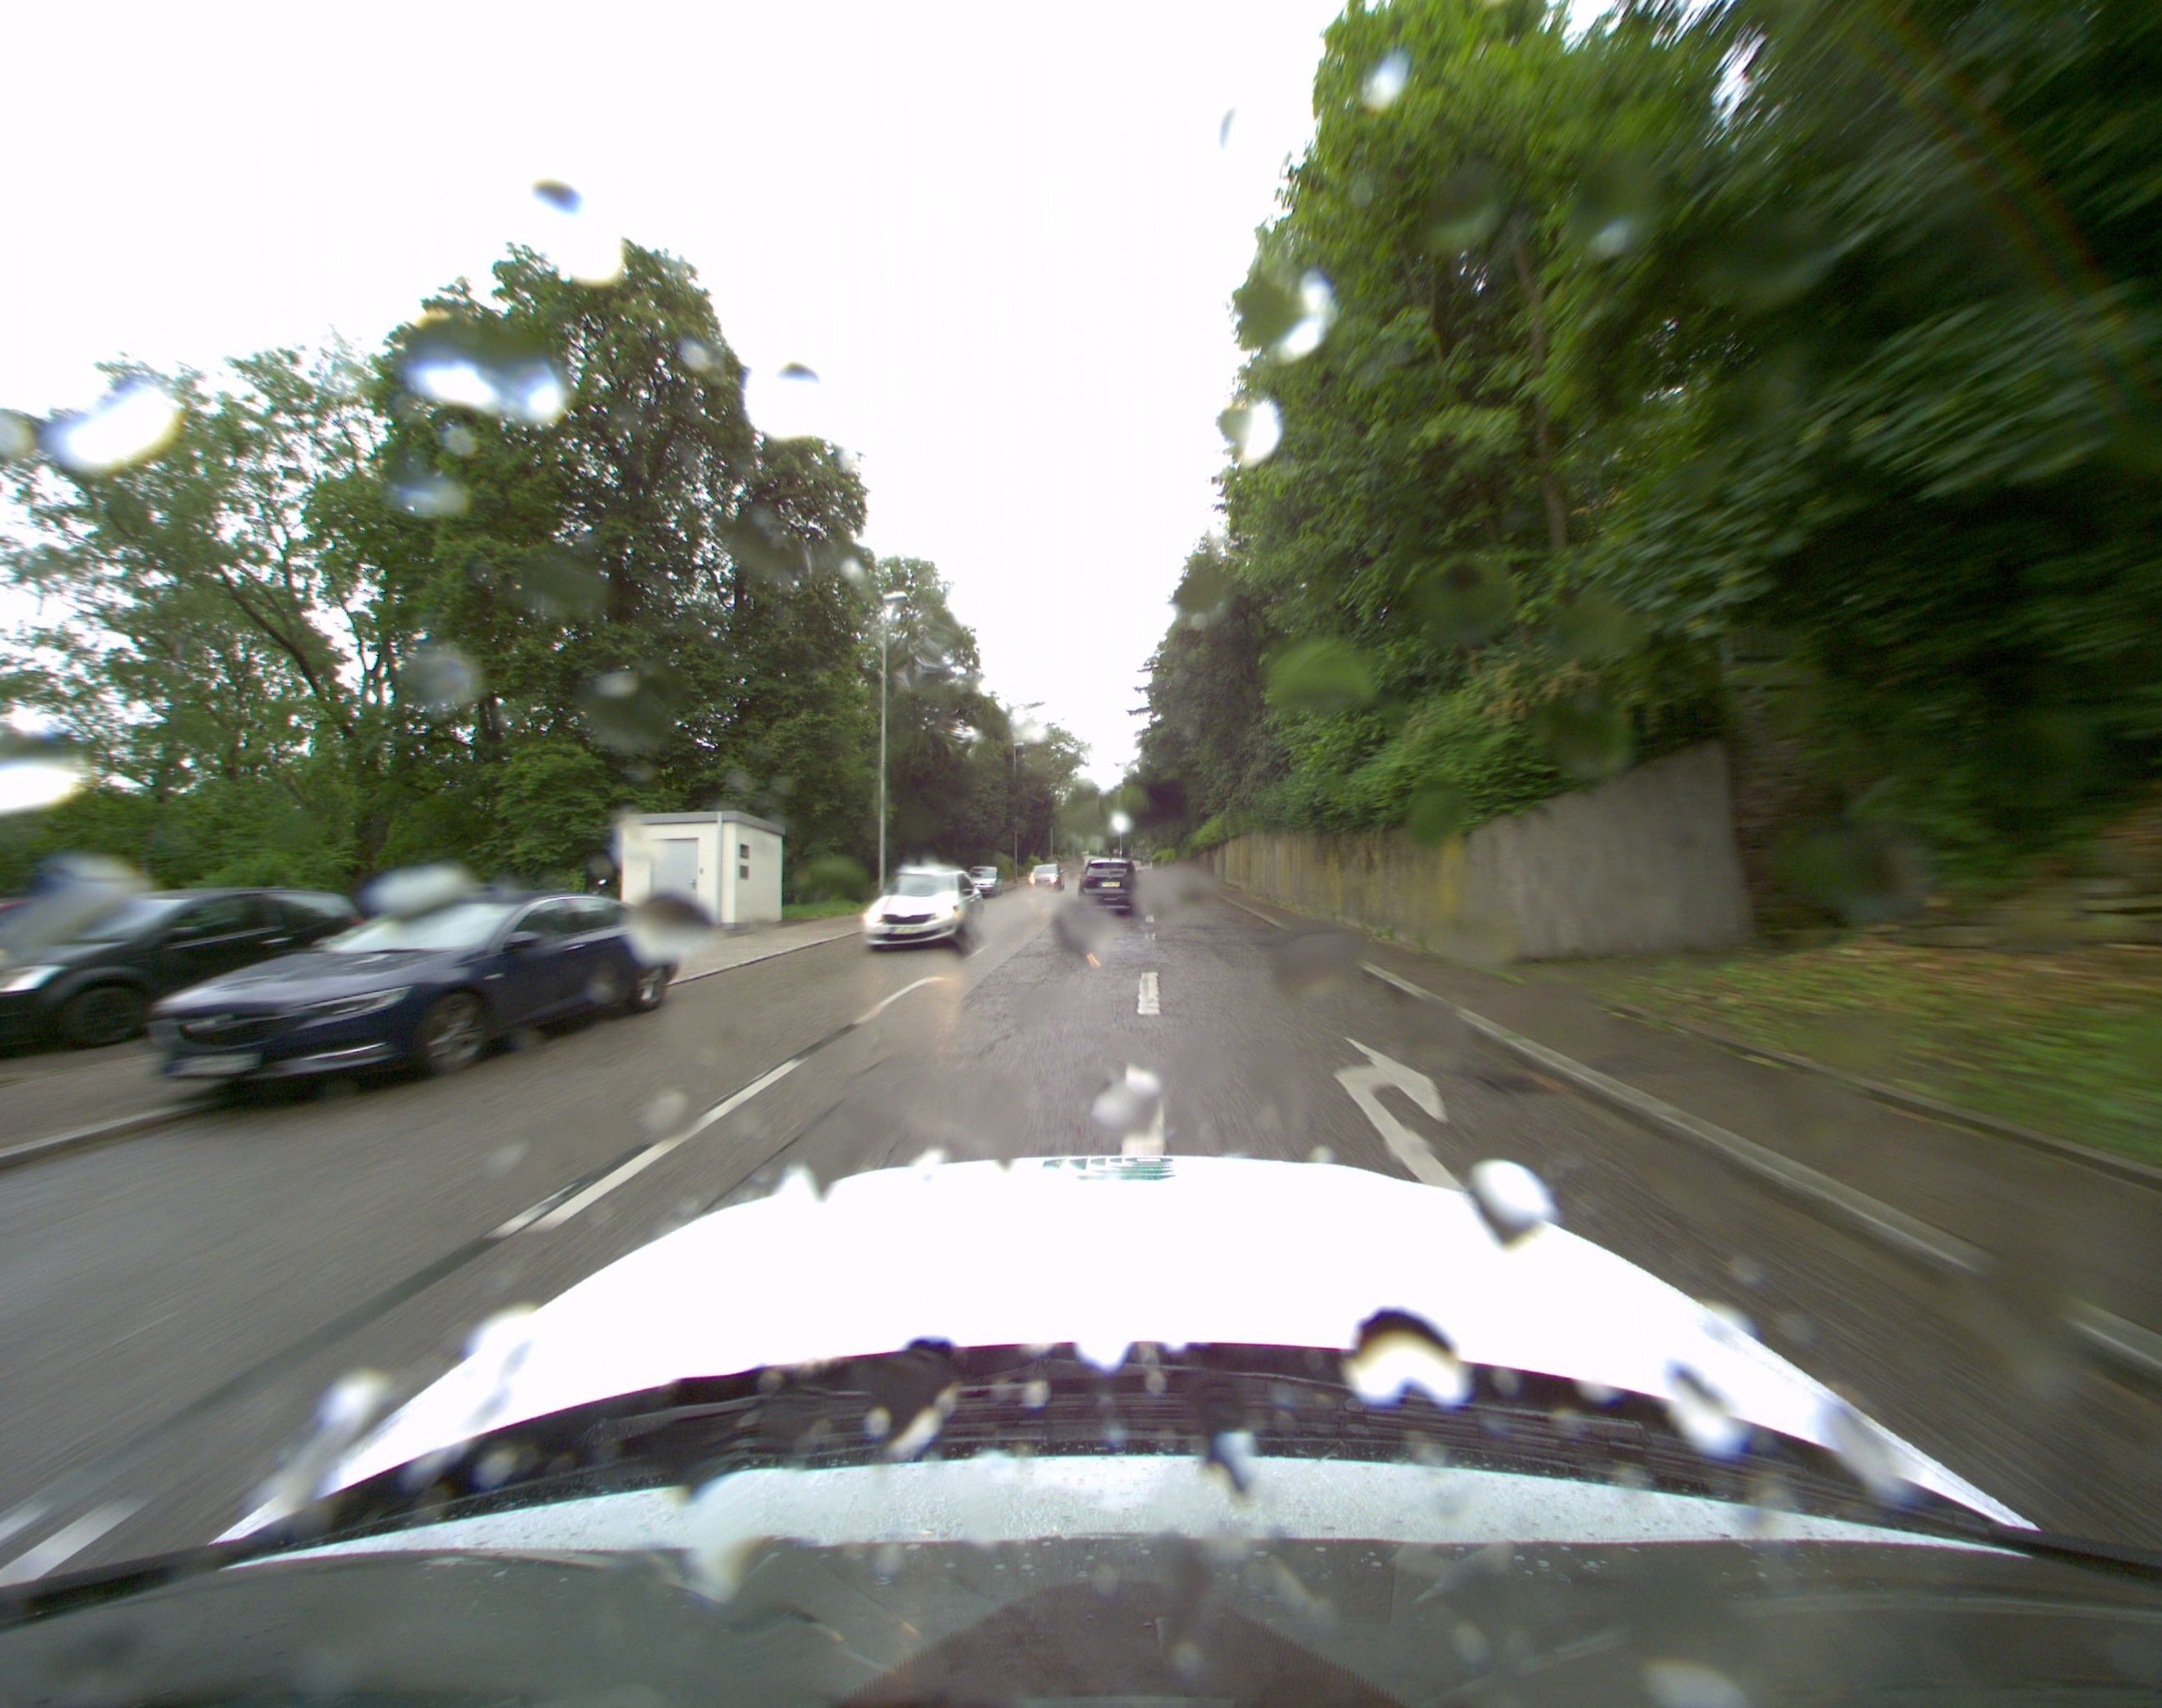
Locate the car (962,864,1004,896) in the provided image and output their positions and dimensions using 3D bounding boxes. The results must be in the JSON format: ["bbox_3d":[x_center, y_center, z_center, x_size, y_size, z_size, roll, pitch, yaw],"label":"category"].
[{"bbox_3d":[-4.805,1.268,40.484,1.621,1.499,3.927,0,0,0],"label":"car"}]

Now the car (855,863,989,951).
[{"bbox_3d":[-3.055,0.969,16.464,1.718,1.435,3.914,-4,0,2],"label":"car"}]

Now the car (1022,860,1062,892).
[{"bbox_3d":[-2.000,1.113,42.592,1.754,1.491,4.001,-3,-1,1],"label":"car"}]

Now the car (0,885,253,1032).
[{"bbox_3d":[-12.108,1.171,9.143,1.614,1.459,3.777,-2,-1,3],"label":"car"}]

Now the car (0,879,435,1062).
[{"bbox_3d":[-9.981,1.092,9.166,1.715,1.459,4.399,-2,-1,3],"label":"car"}]

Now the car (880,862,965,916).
[{"bbox_3d":[-5.473,1.165,28.730,1.879,1.611,4.242,-4,-1,3],"label":"car"}]

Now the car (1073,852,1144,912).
[{"bbox_3d":[0.829,0.785,24.475,1.921,1.613,4.002,-1,-1,2],"label":"car"}]

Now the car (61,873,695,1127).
[{"bbox_3d":[-5.949,1.057,7.954,1.853,1.493,4.757,-5,-1,2],"label":"car"}]

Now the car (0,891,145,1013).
[{"bbox_3d":[-14.265,1.265,9.519,1.589,1.459,4.245,-2,-1,3],"label":"car"}]

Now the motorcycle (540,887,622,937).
[{"bbox_3d":[-13.350,1.523,21.836,0.597,1.188,2.281,-2,-1,6],"label":"motorcycle"}]

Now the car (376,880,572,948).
[{"bbox_3d":[-15.979,1.524,21.798,1.939,1.459,4.395,-2,-1,-1],"label":"car"}]
